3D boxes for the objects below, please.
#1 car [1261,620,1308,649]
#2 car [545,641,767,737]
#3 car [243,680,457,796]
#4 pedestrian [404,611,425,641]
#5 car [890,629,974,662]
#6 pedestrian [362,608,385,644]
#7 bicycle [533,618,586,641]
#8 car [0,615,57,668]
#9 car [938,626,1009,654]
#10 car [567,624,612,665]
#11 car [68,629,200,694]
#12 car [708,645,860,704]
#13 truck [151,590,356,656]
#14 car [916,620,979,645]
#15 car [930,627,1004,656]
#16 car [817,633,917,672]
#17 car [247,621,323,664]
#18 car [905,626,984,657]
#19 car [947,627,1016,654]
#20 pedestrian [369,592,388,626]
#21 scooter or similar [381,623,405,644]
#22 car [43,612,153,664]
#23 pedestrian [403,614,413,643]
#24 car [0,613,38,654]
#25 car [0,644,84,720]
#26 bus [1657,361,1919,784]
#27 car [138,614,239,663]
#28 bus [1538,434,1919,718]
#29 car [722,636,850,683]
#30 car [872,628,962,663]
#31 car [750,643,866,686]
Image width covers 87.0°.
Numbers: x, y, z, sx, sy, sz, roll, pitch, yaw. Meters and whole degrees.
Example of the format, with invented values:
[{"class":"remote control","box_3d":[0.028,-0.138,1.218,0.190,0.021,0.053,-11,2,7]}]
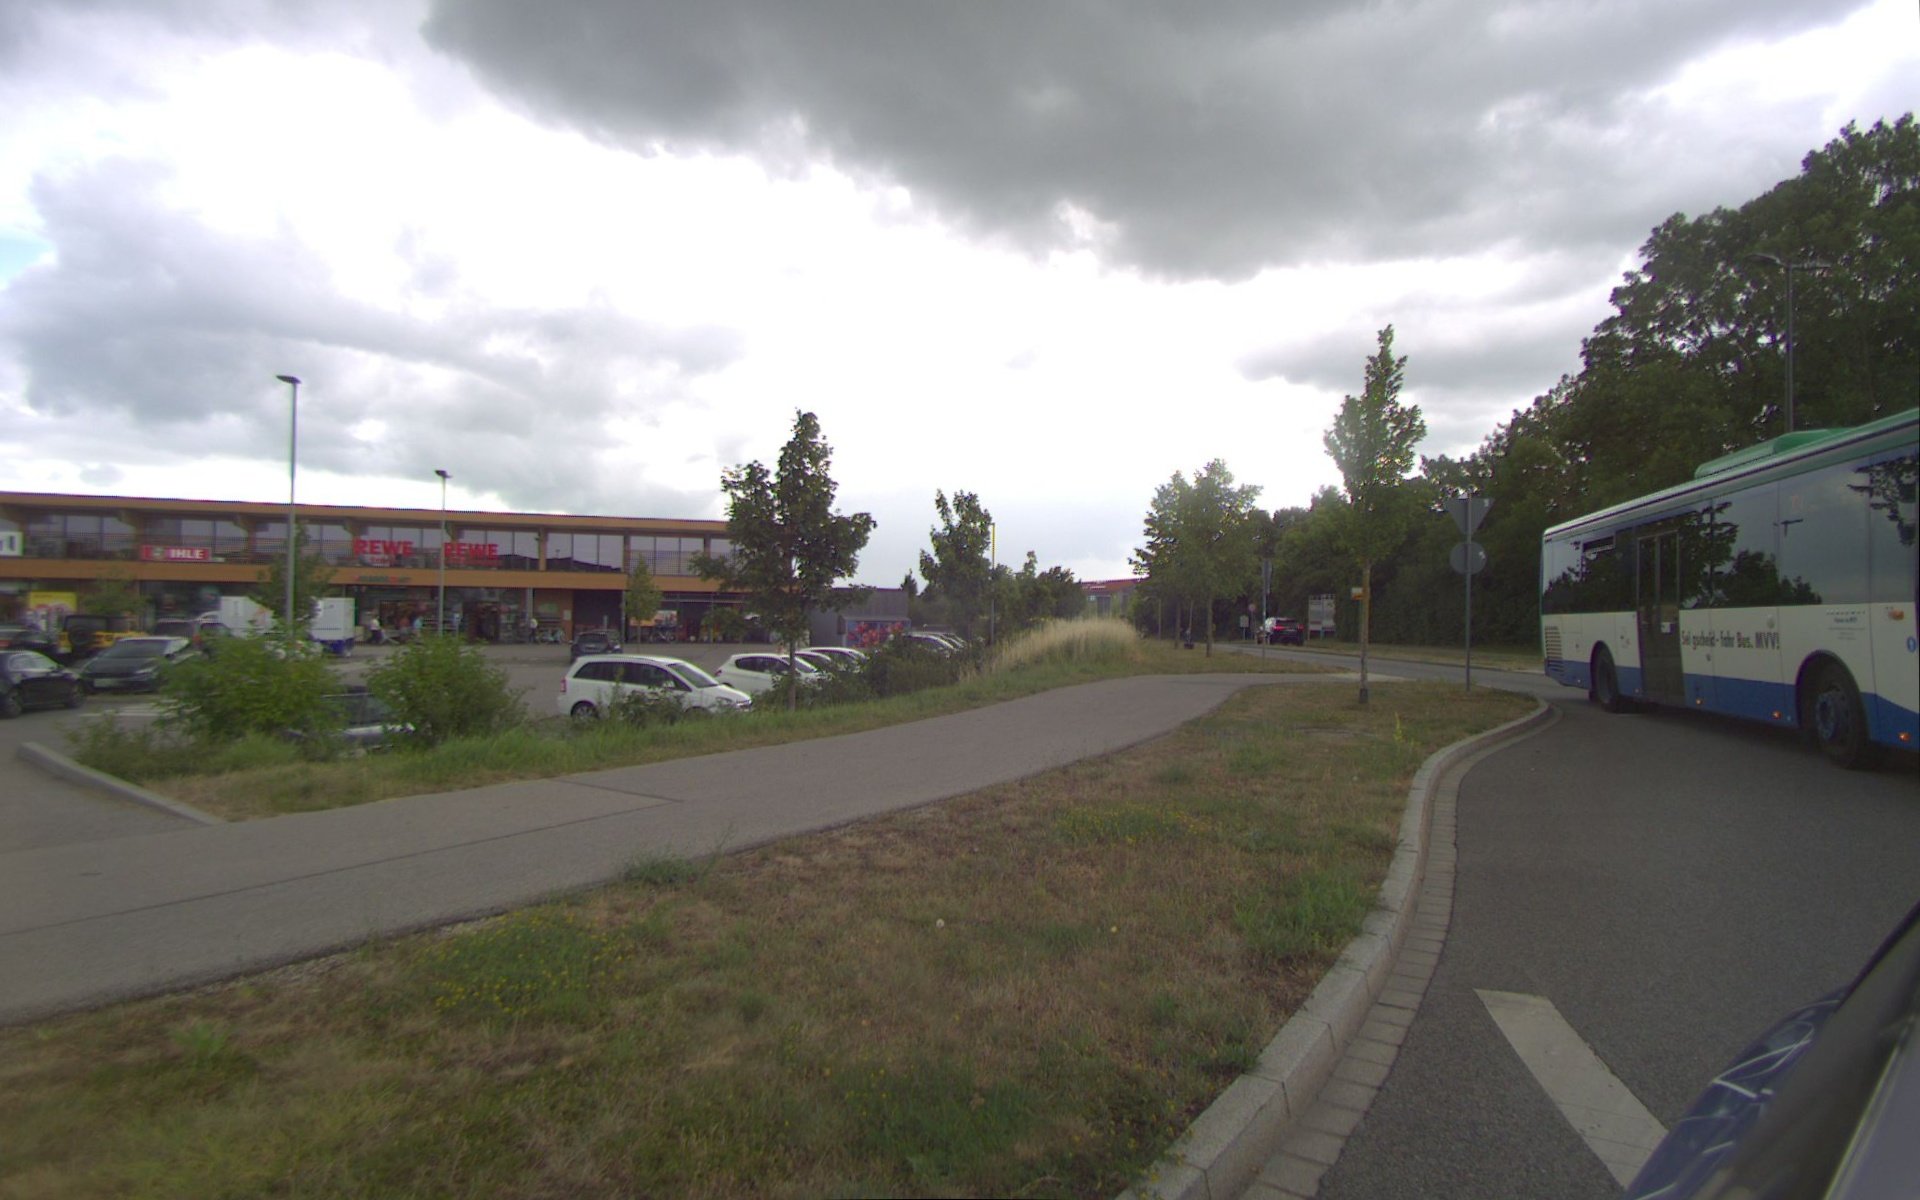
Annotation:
[{"class":"car","box_3d":[18.474,1.941,57.747,1.613,1.524,3.579,0,0,2]},{"class":"car","box_3d":[-6.707,1.916,22.499,4.373,1.694,1.795,3,1,10]},{"class":"car","box_3d":[-9.552,2.049,15.765,3.709,1.390,1.560,-1,-1,37]},{"class":"pedestrian","box_3d":[-30.741,1.473,57.000,0.800,1.678,0.741,0,-1,36]},{"class":"car","box_3d":[-1.356,2.234,49.740,3.833,1.483,1.689,0,-1,15]},{"class":"pedestrian","box_3d":[-32.022,1.441,55.261,0.909,1.923,0.795,1,-3,-17]},{"class":"bicycle","box_3d":[-23.594,1.752,59.695,2.809,1.326,0.981,0,-1,-18]},{"class":"car","box_3d":[-35.899,1.503,37.924,1.735,1.878,4.007,0,-1,-21]},{"class":"car","box_3d":[0.770,2.283,58.489,3.833,1.483,1.689,0,-1,15]},{"class":"car","box_3d":[-15.928,1.877,43.619,1.679,1.588,3.677,1,-1,-19]},{"class":"car","box_3d":[-22.830,1.633,28.161,1.695,1.573,4.007,1,-1,-22]},{"class":"car","box_3d":[-4.914,2.084,28.706,3.927,1.527,1.998,0,0,3]},{"class":"truck","box_3d":[-31.802,1.032,45.956,7.105,2.843,2.982,1,-1,-21]},{"class":"car","box_3d":[-0.779,2.007,63.395,3.924,1.462,1.884,0,-1,0]},{"class":"car","box_3d":[0.391,2.267,56.261,3.833,1.483,1.689,0,-1,15]},{"class":"car","box_3d":[-3.857,2.164,42.325,3.833,1.483,1.689,0,-1,15]},{"class":"car","box_3d":[-26.874,1.658,40.424,1.695,1.549,4.007,1,0,-22]},{"class":"car","box_3d":[-0.781,2.152,52.709,3.833,1.483,1.689,0,-1,15]},{"class":"car","box_3d":[1.280,2.384,60.098,3.833,1.483,1.689,0,-1,15]},{"class":"pedestrian","box_3d":[-34.768,0.547,60.500,0.913,2.039,0.807,1,-1,-25]},{"class":"scooter or similar","box_3d":[-31.103,1.824,55.530,0.981,1.141,0.795,1,-3,-17]},{"class":"car","box_3d":[-32.907,1.395,38.784,1.735,1.878,4.008,0,-1,-17]},{"class":"pedestrian","box_3d":[-37.601,1.956,68.901,0.567,1.974,0.526,1,-1,-26]},{"class":"car","box_3d":[-40.500,1.388,42.087,1.730,1.675,3.902,0,-1,-19]},{"class":"car","box_3d":[-21.305,1.760,22.265,1.798,1.416,4.008,1,0,-21]},{"class":"bus","box_3d":[9.129,-0.275,9.173,2.489,3.299,6.516,-3,0,16]},{"class":"car","box_3d":[-29.606,1.437,38.986,1.813,1.747,4.128,-1,-1,-18]},{"class":"bus","box_3d":[10.766,-0.280,14.897,2.489,3.299,5.434,-3,0,16]},{"class":"car","box_3d":[-5.252,1.797,30.897,3.607,1.311,1.716,0,0,1]},{"class":"car","box_3d":[-1.979,2.096,46.714,3.833,1.483,1.689,0,-1,15]},{"class":"car","box_3d":[-5.174,2.194,34.527,3.619,1.311,1.410,-3,-2,12]}]
